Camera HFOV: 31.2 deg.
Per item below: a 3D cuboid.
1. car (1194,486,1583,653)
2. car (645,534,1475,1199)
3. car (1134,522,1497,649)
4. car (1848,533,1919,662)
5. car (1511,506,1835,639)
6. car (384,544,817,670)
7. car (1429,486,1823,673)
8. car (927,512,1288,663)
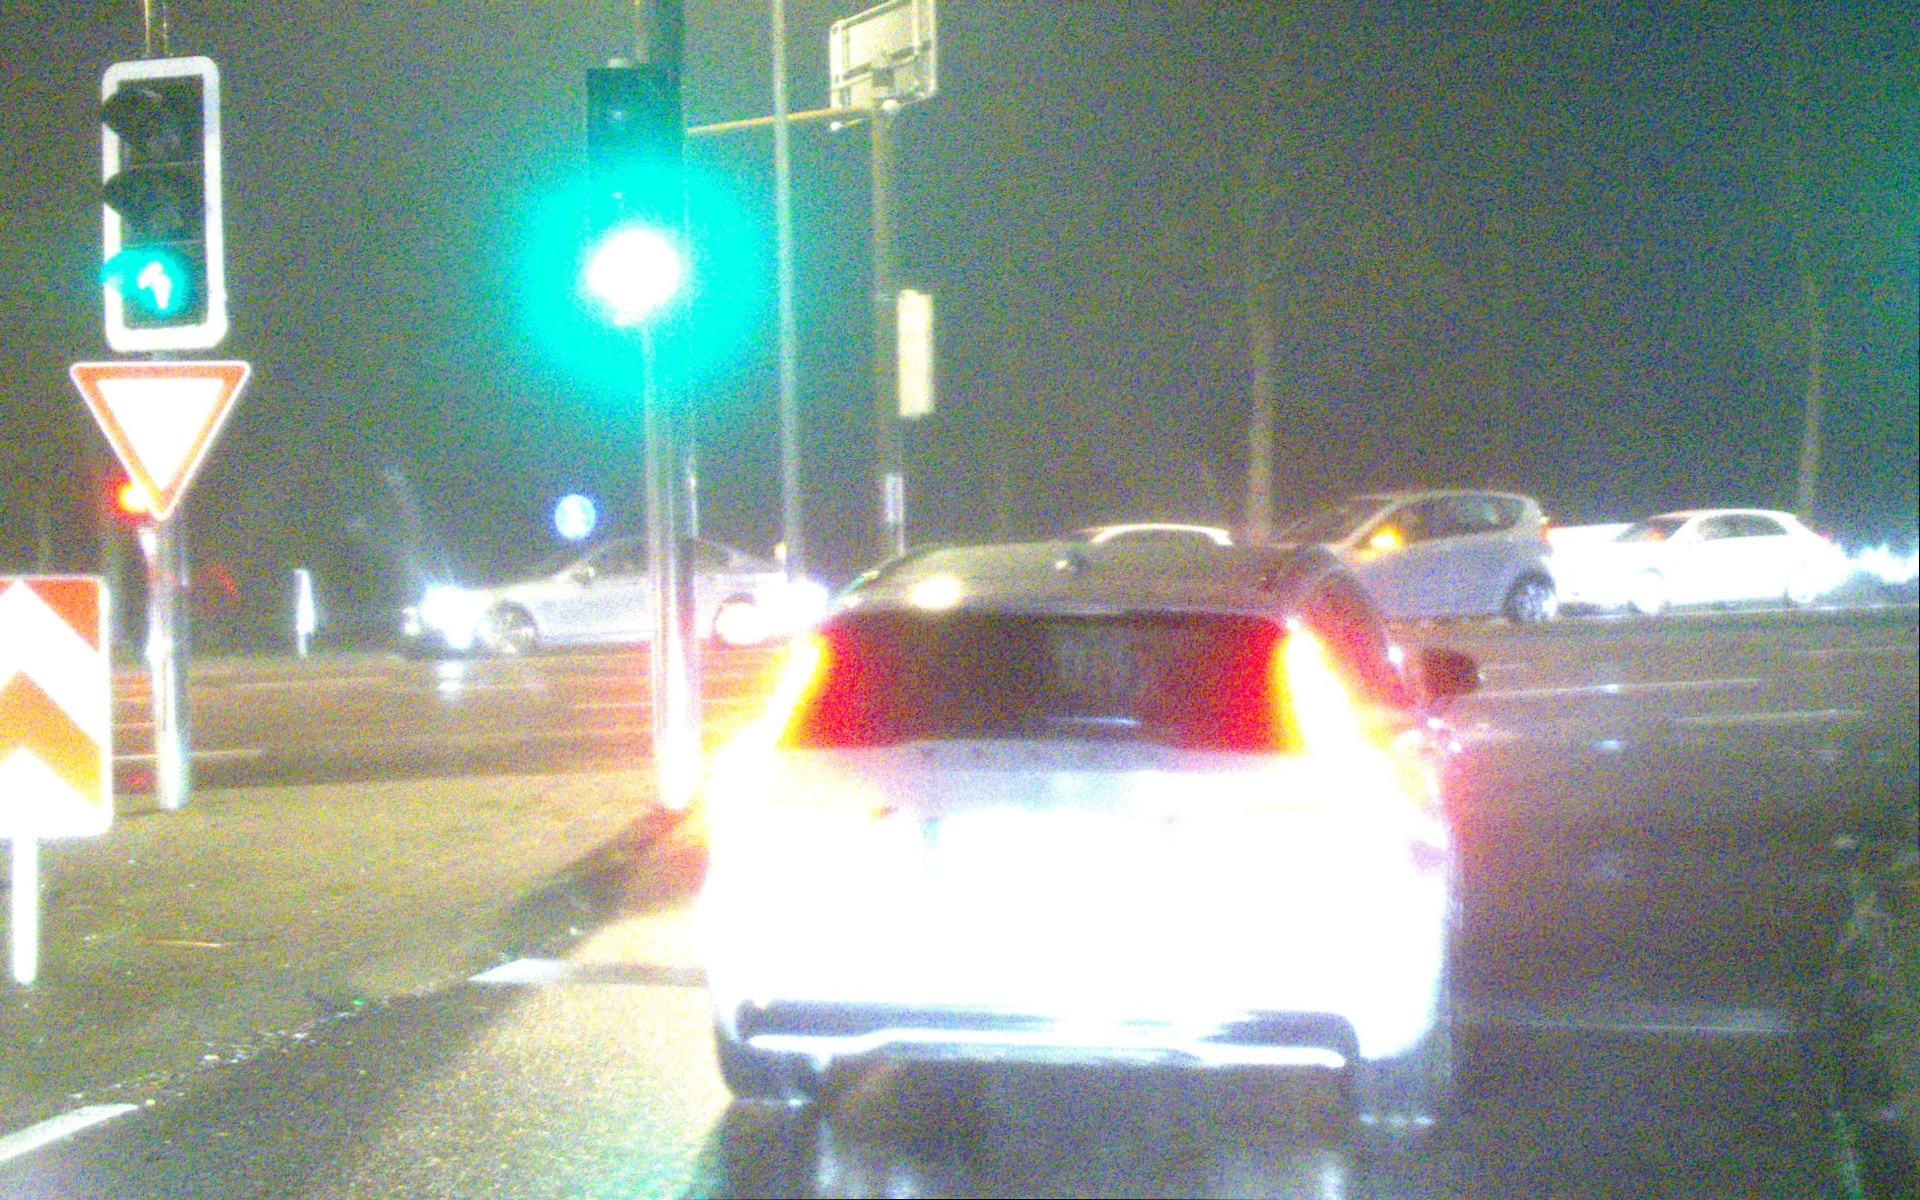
[{"bbox_3d":[4.733,-0.366,37.952,3.888,1.719,1.766,-2,2,-25],"label":"car"},{"bbox_3d":[0.518,0.565,9.714,1.797,1.447,4.267,0,2,9],"label":"car"},{"bbox_3d":[4.310,-0.173,41.641,4.043,1.482,1.718,0,0,-23],"label":"car"},{"bbox_3d":[15.274,-0.037,50.646,4.110,1.842,1.766,0,0,-27],"label":"car"},{"bbox_3d":[9.962,-0.374,48.002,4.236,1.793,1.804,0,0,-27],"label":"car"},{"bbox_3d":[-4.246,0.071,40.739,4.786,1.422,1.766,0,0,-26],"label":"car"},{"bbox_3d":[10.056,-0.307,51.839,5.589,2.701,2.257,0,0,-26],"label":"car"},{"bbox_3d":[1.885,-0.157,43.737,4.270,1.842,1.766,0,0,-27],"label":"car"}]
